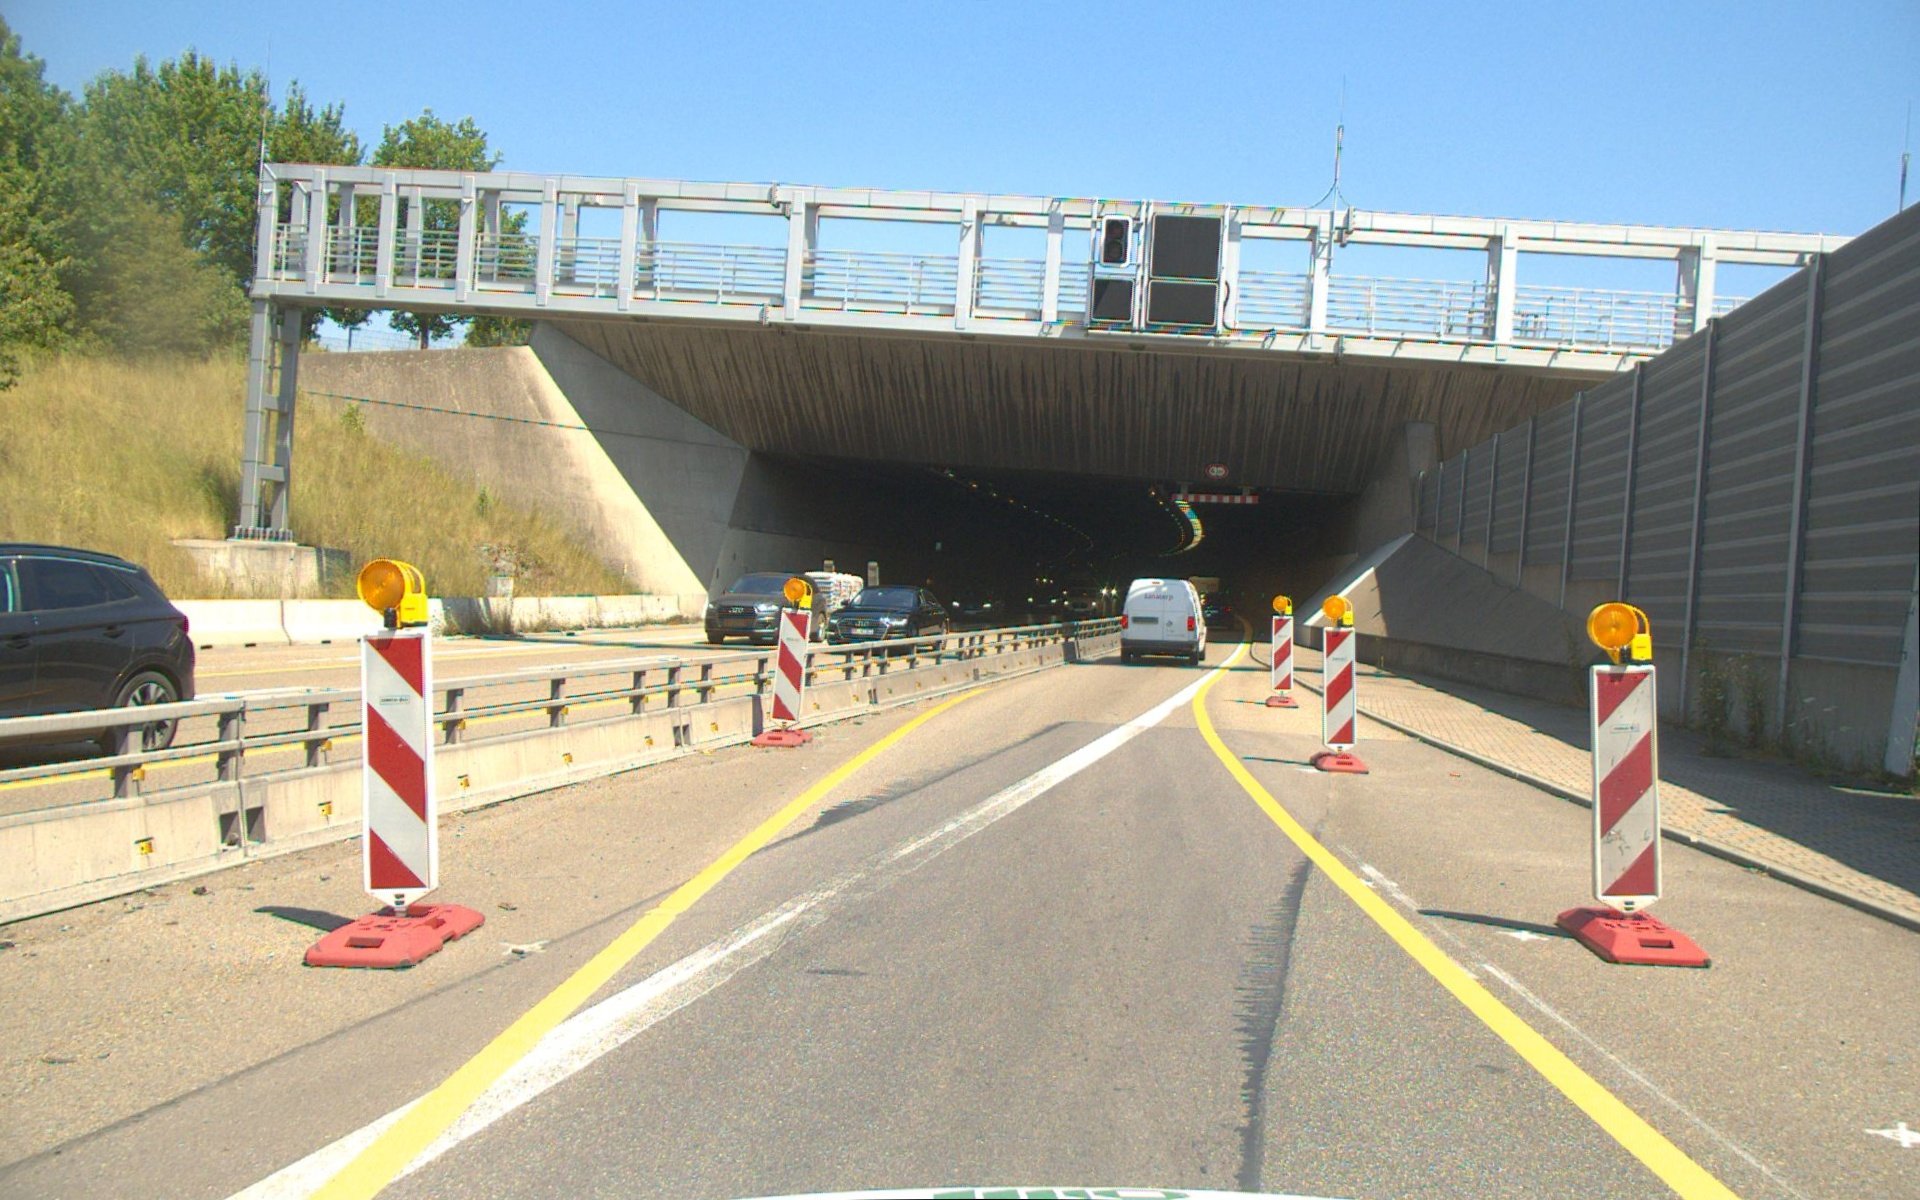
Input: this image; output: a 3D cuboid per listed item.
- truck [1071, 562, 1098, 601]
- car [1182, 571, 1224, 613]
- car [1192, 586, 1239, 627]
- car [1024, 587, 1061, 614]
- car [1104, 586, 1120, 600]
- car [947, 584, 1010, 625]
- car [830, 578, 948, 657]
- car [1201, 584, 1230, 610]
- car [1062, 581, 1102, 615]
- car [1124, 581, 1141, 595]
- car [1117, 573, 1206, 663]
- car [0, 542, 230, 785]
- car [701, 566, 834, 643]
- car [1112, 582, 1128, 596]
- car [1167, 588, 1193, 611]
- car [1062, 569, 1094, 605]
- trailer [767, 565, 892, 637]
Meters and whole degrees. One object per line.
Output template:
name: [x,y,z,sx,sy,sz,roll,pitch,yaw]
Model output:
truck: [13.266,-1.946,175.998,2.751,3.984,6.460,2,0,5]
car: [18.752,-0.566,127.966,2.755,2.821,7.105,5,-1,7]
car: [10.608,0.274,68.864,1.770,1.564,4.413,4,0,8]
car: [4.898,0.002,97.400,1.736,1.542,4.568,1,1,8]
car: [17.597,-0.815,191.689,1.783,1.482,4.096,2,0,5]
car: [0.838,0.166,71.493,1.736,1.695,4.811,1,1,13]
car: [-1.519,0.349,37.349,1.736,1.621,4.990,1,1,8]
car: [16.553,-0.210,107.090,1.565,1.573,3.680,2,0,5]
car: [6.084,-0.114,82.271,1.736,1.605,4.450,1,1,7]
car: [24.957,-1.742,239.022,2.030,2.056,4.663,2,0,1]
car: [4.594,0.390,37.335,1.770,1.825,3.734,4,0,9]
car: [-7.187,0.398,11.346,1.706,1.621,4.231,2,0,14]
car: [-4.666,0.085,40.870,1.736,1.757,4.872,1,1,12]
car: [25.090,-1.759,259.904,2.030,2.056,4.663,2,0,1]
car: [21.801,-0.042,163.872,1.993,2.055,4.633,6,1,3]
car: [8.763,-0.941,122.267,1.951,2.559,6.046,1,1,7]
trailer: [-3.532,0.015,45.985,1.905,1.837,5.527,1,1,12]
